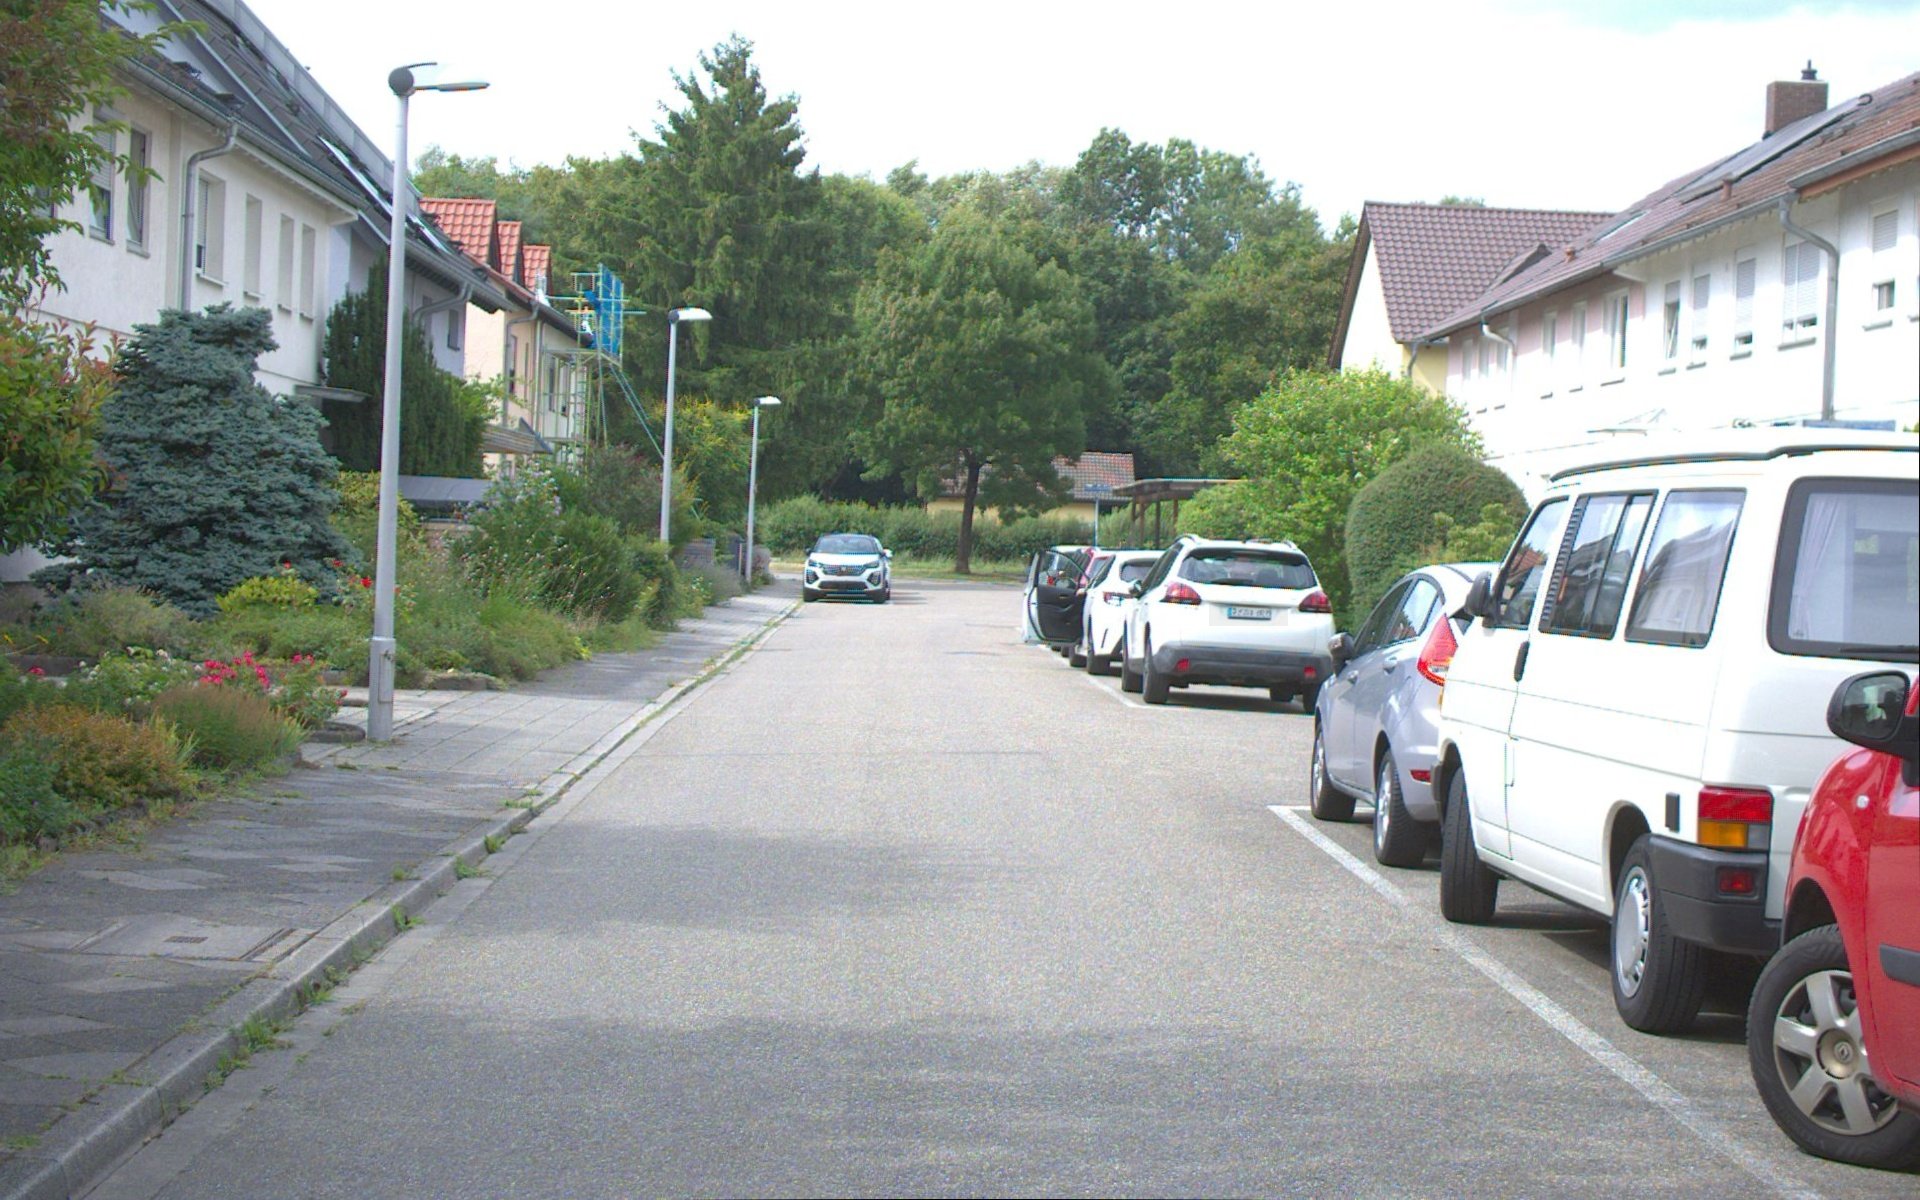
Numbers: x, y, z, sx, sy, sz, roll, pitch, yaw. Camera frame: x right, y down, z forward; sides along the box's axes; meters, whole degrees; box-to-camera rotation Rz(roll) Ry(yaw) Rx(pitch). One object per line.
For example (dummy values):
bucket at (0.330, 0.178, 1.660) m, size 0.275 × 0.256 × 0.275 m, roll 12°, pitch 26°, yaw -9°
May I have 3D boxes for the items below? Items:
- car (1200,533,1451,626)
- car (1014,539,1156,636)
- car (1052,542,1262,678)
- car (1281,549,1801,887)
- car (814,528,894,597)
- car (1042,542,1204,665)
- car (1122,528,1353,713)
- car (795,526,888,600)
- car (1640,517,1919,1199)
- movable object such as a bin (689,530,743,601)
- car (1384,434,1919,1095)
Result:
car at (6.559, -0.385, 61.972) m, size 4.270 × 1.555 × 1.935 m, roll 1°, pitch 1°, yaw 0°
car at (2.000, -0.234, 56.116) m, size 1.864 × 1.412 × 4.254 m, roll 2°, pitch 1°, yaw -3°
car at (2.206, 0.071, 39.771) m, size 1.837 × 1.408 × 4.638 m, roll 1°, pitch 1°, yaw -4°
car at (2.833, 0.506, 17.678) m, size 1.900 × 1.454 × 4.130 m, roll 2°, pitch 1°, yaw 0°
car at (-2.518, -0.922, 82.371) m, size 1.810 × 1.556 × 4.848 m, roll 2°, pitch 1°, yaw -1°
car at (2.113, -0.001, 45.786) m, size 1.773 × 1.431 × 4.826 m, roll 4°, pitch 1°, yaw -1°
car at (2.551, 0.141, 32.446) m, size 1.713 × 1.538 × 3.974 m, roll 4°, pitch 1°, yaw -1°
car at (-2.618, -0.853, 76.971) m, size 1.934 × 1.551 × 4.635 m, roll 2°, pitch 1°, yaw 0°
car at (3.024, 0.664, 7.575) m, size 1.810 × 1.645 × 4.412 m, roll 1°, pitch 1°, yaw -5°
movable object such as a bin at (-4.582, -0.652, 64.669) m, size 0.949 × 1.307 × 1.001 m, roll 1°, pitch 1°, yaw -2°
car at (3.002, 0.450, 12.573) m, size 2.020 × 1.940 × 4.748 m, roll 1°, pitch 1°, yaw -3°
